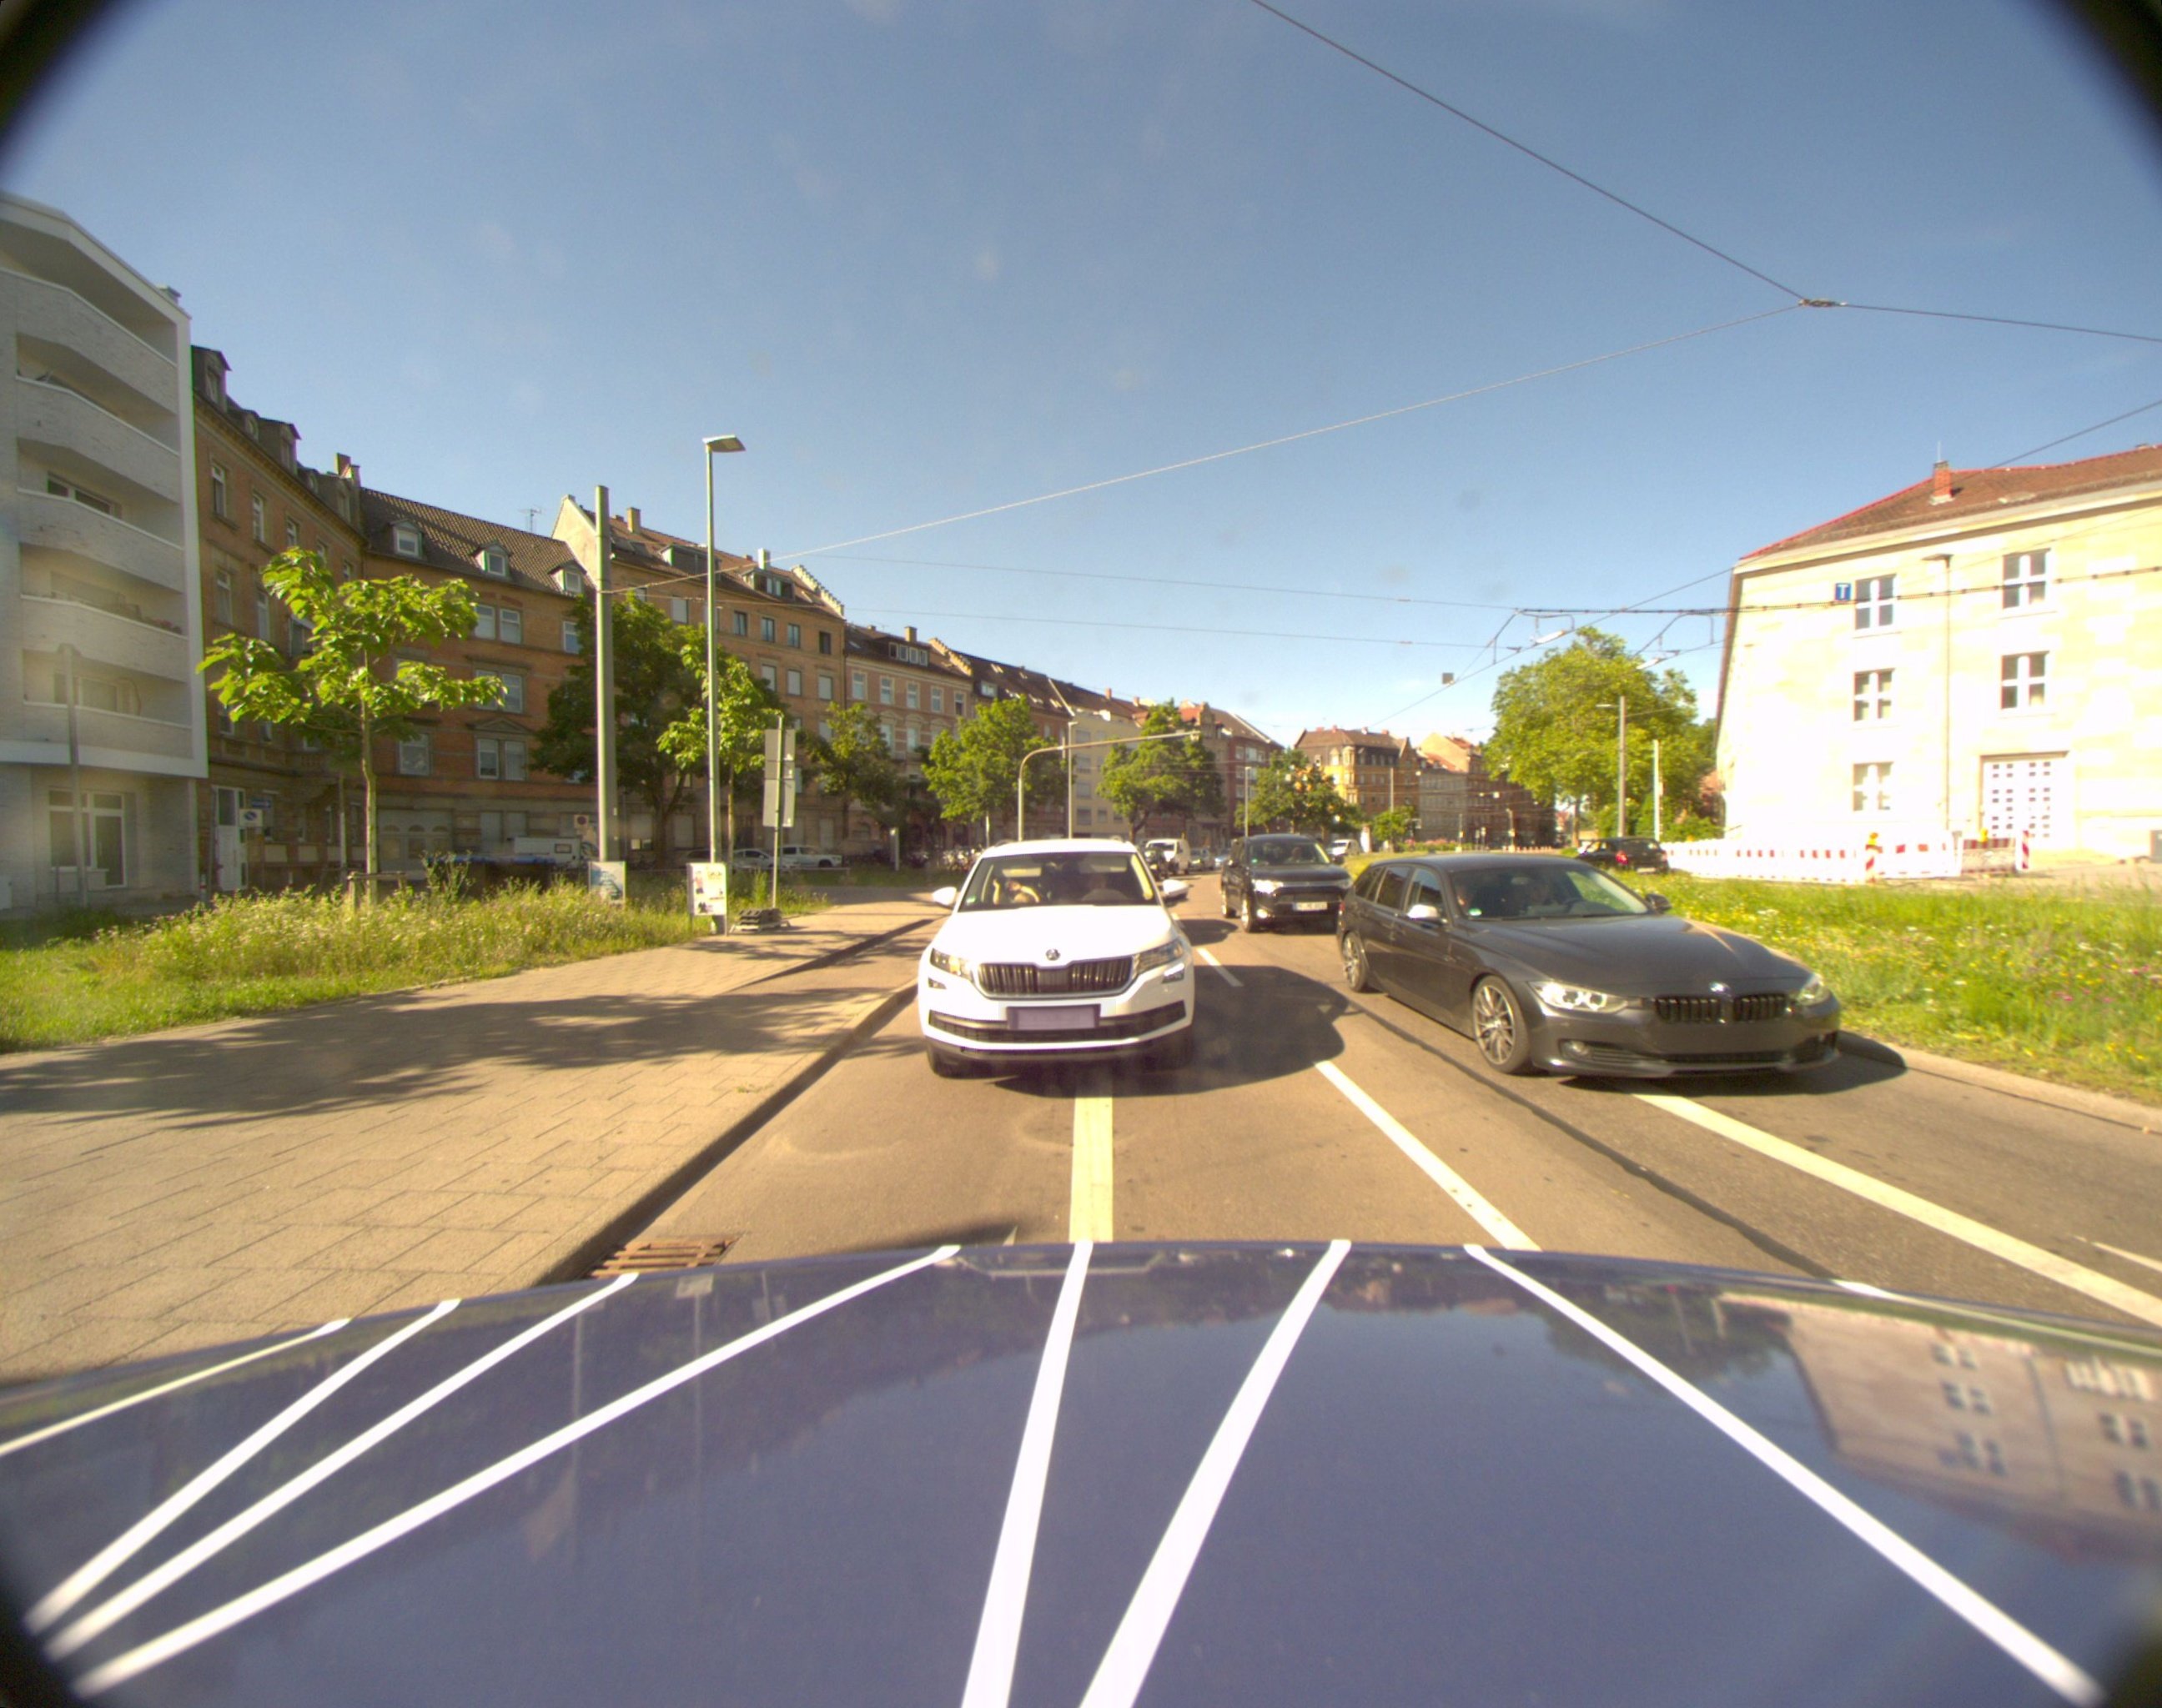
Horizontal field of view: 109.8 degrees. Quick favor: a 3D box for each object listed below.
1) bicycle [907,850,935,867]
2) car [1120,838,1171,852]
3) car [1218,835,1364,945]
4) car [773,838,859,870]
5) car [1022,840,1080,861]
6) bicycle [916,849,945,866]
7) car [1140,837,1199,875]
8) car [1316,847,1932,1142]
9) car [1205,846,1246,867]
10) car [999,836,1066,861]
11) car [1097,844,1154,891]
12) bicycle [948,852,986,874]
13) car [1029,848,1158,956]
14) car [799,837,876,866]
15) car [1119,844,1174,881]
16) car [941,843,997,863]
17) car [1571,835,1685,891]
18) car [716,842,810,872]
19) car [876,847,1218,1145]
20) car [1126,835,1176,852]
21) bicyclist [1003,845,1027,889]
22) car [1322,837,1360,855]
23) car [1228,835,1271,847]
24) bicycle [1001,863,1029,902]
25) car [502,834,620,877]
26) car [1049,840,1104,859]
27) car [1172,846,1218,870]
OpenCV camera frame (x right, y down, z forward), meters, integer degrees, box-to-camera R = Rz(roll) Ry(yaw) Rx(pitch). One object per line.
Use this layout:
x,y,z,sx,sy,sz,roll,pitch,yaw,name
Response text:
-9.589,0.253,45.523,1.757,1.018,0.453,0,1,26,bicycle
5.889,-0.828,69.048,4.393,1.227,2.002,-1,1,13,car
3.675,0.528,14.065,1.768,1.675,4.328,-2,1,4,car
-14.587,-0.018,41.952,3.996,1.652,2.000,-1,1,3,car
-2.304,-0.275,59.598,4.397,1.498,2.000,-1,1,2,car
-9.171,0.236,46.284,1.757,1.018,0.453,0,1,26,bicycle
4.869,0.065,41.414,1.870,1.970,4.662,0,1,24,car
3.447,0.705,6.102,1.840,1.422,4.483,-2,1,2,car
10.277,0.153,53.777,1.826,1.377,4.662,0,1,24,car
-3.554,-0.418,56.677,4.789,1.761,1.732,-1,1,3,car
1.647,0.420,27.444,1.873,1.547,4.001,-1,1,4,car
-5.582,0.437,37.263,1.764,1.018,0.567,-1,1,-26,bicycle
0.215,0.691,13.203,1.873,1.547,3.999,-1,1,1,car
-14.716,-0.144,46.080,3.996,1.652,2.000,-1,1,3,car
3.115,0.364,35.387,1.871,1.605,3.912,-1,1,15,car
-7.628,-0.084,51.800,3.462,1.324,1.732,-1,1,3,car
18.319,0.265,25.685,1.767,1.740,4.004,-1,1,14,car
-16.535,0.143,39.674,3.996,1.455,2.000,-1,1,3,car
-0.157,0.775,6.390,1.873,1.621,4.337,-1,1,1,car
6.648,-0.983,71.904,4.393,1.453,2.002,-1,1,13,car
-2.120,0.414,24.304,0.697,1.370,0.737,0,3,-11,bicyclist
22.482,-0.705,65.642,1.869,1.547,4.008,0,1,38,car
18.889,-1.461,85.155,4.397,1.203,2.000,-1,1,3,car
-2.133,0.880,24.347,0.697,1.099,2.008,0,3,-11,bicycle
-27.036,0.046,39.628,1.994,2.100,4.651,0,1,40,car
-0.343,-0.362,61.839,4.397,1.453,2.000,-1,1,2,car
7.144,0.230,47.288,1.870,1.439,3.914,0,1,24,car
